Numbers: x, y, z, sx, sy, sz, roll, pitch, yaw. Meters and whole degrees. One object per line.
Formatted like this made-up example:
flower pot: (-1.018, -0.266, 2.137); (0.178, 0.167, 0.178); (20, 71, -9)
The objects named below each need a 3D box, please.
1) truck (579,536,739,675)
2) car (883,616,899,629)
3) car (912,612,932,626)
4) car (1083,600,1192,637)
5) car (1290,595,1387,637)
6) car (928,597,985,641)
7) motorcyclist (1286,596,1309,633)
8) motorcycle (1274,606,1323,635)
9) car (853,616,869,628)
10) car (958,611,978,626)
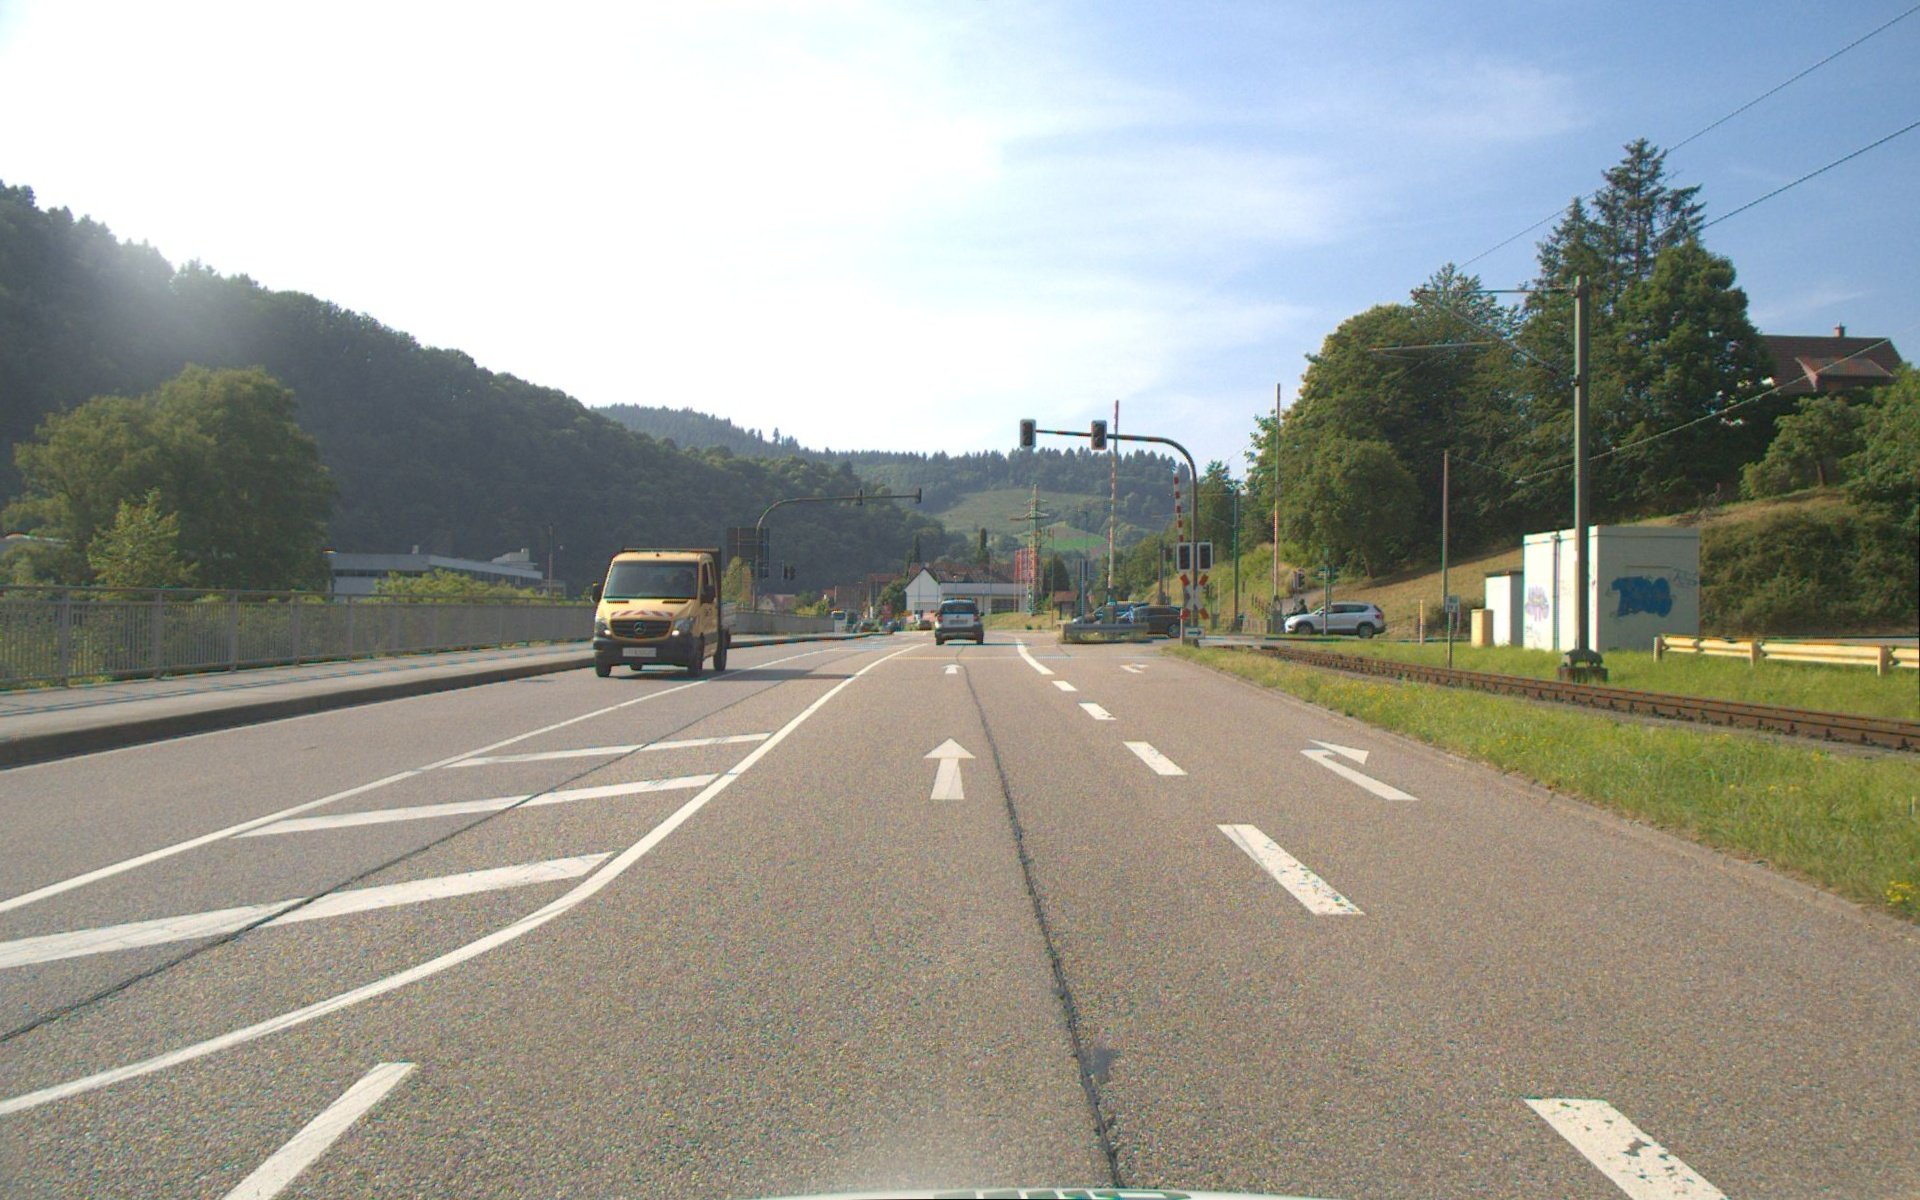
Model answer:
truck: (-5.753, 0.111, 32.413); (2.120, 2.429, 5.853); (1, 0, -1)
car: (-8.335, 2.717, 200.340); (1.214, 1.460, 2.627); (-1, 0, -18)
car: (-4.257, 2.149, 184.648); (1.431, 1.460, 2.921); (1, 0, -18)
car: (7.694, 0.799, 72.204); (4.627, 1.496, 1.842); (-1, -1, 3)
car: (16.362, 0.701, 71.477); (4.025, 1.716, 1.836); (1, 0, 14)
car: (-0.091, 0.732, 62.528); (1.822, 1.571, 4.375); (1, -2, 4)
motorcyclist: (15.283, 0.664, 74.892); (0.887, 1.625, 0.766); (1, -1, 18)
motorcycle: (15.322, 0.940, 74.887); (2.049, 1.276, 0.799); (1, 0, 19)
car: (-13.112, 2.933, 219.424); (1.431, 1.460, 2.921); (1, 0, -18)
car: (0.782, 1.924, 170.305); (1.428, 1.460, 2.926); (1, 0, -12)
